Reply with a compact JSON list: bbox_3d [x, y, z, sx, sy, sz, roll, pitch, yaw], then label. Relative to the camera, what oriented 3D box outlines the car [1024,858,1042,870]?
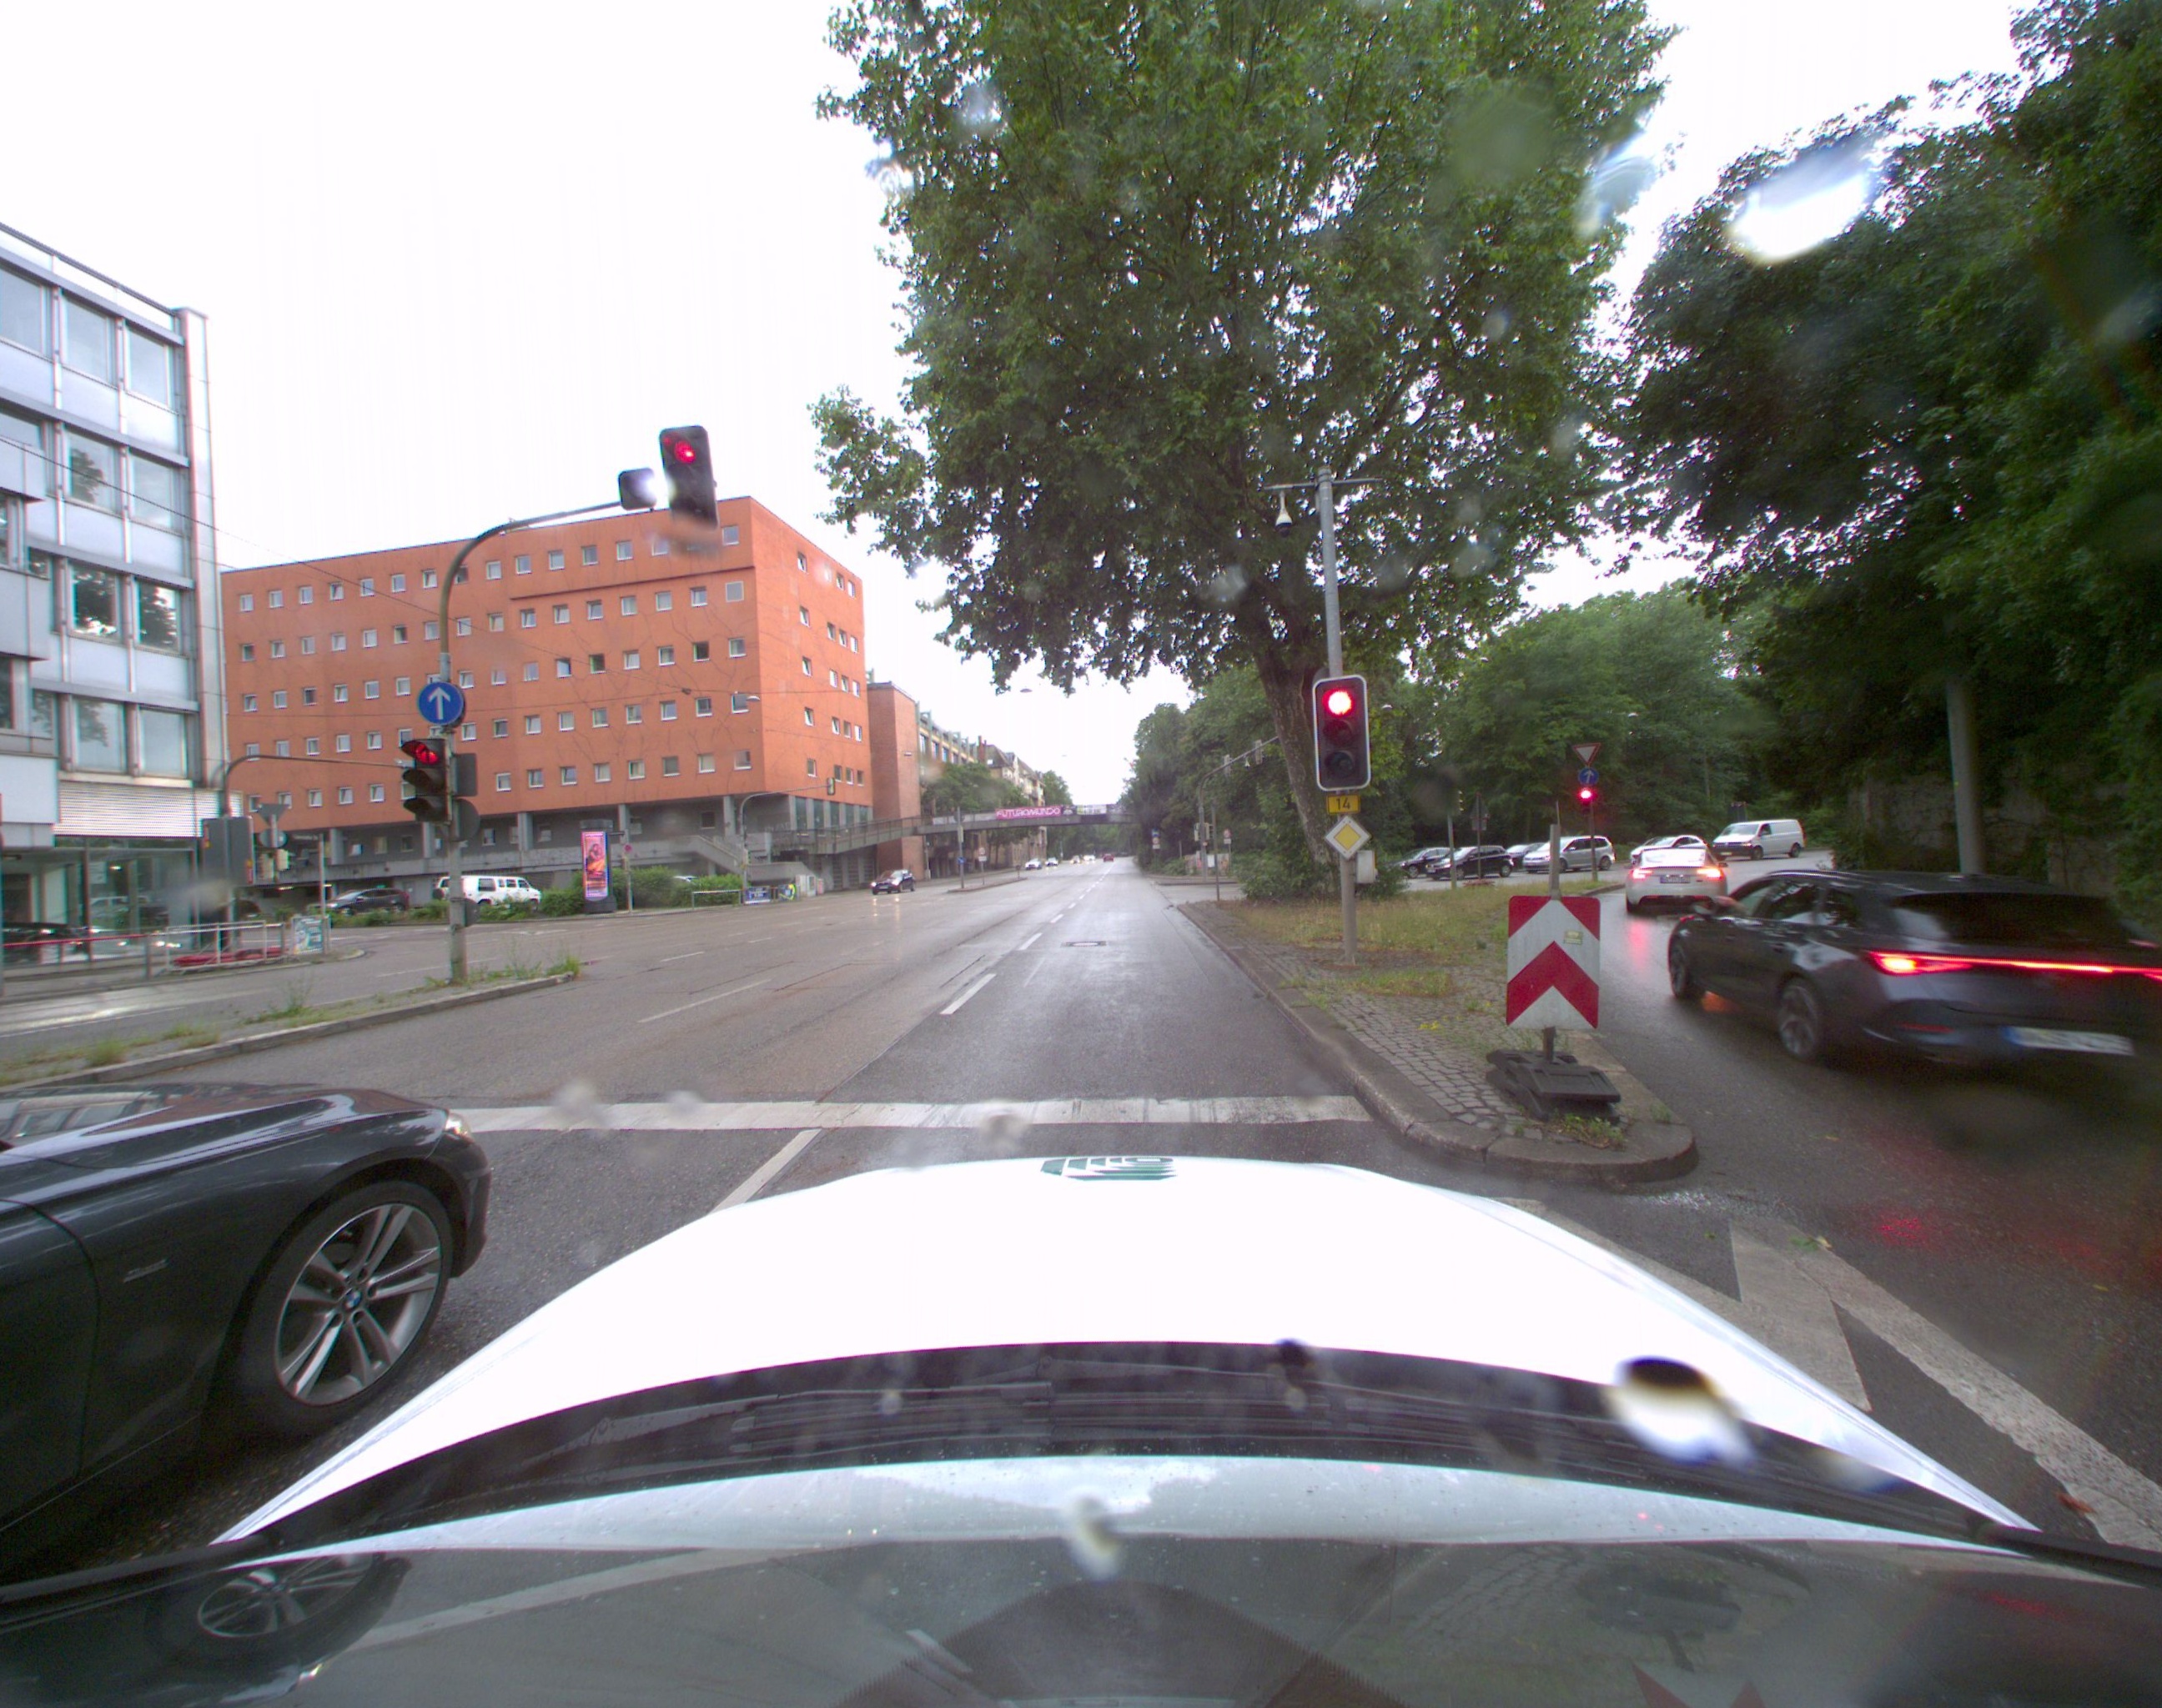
[{"bbox_3d":[-6.750,1.366,115.610,1.881,1.610,4.461,-3,-1,4],"label":"car"}]

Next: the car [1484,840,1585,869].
[{"bbox_3d":[22.945,0.039,41.211,4.438,1.402,1.821,0,-1,-14],"label":"car"}]

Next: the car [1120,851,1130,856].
[{"bbox_3d":[12.534,-0.137,231.761,1.842,1.453,3.764,0,-1,-10],"label":"car"}]

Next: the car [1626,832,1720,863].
[{"bbox_3d":[28.843,-0.296,39.708,3.857,1.461,1.650,0,-1,-14],"label":"car"}]

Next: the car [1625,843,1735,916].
[{"bbox_3d":[14.008,0.495,19.145,1.834,1.448,4.648,2,2,36],"label":"car"}]

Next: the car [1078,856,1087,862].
[{"bbox_3d":[0.482,1.400,235.834,1.604,1.499,3.691,-4,-1,-16],"label":"car"}]

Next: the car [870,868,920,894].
[{"bbox_3d":[-11.321,1.636,49.929,1.678,1.419,4.220,-4,-1,5],"label":"car"}]

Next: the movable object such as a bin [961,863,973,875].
[{"bbox_3d":[-15.108,1.941,107.668,1.277,1.518,1.274,-3,0,3],"label":"movable object such as a bin"}]

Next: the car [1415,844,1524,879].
[{"bbox_3d":[17.160,0.332,36.020,4.192,1.460,1.784,0,-1,-14],"label":"car"}]

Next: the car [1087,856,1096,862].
[{"bbox_3d":[2.374,1.125,189.651,1.823,1.393,4.409,-4,-1,3],"label":"car"}]

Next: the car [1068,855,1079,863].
[{"bbox_3d":[-1.360,0.885,154.776,1.676,1.436,3.866,-3,-1,3],"label":"car"}]

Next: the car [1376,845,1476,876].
[{"bbox_3d":[16.851,0.317,39.798,4.205,1.440,1.941,0,-1,-14],"label":"car"}]

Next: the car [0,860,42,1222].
[{"bbox_3d":[-6.004,0.847,1.698,1.801,1.656,4.449,0,-1,4],"label":"car"}]

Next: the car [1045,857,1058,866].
[{"bbox_3d":[-5.035,1.272,140.658,1.701,1.464,4.047,-3,-1,5],"label":"car"}]

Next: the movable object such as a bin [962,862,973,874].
[{"bbox_3d":[-15.199,1.930,109.087,1.293,1.518,1.215,-3,0,3],"label":"movable object such as a bin"}]

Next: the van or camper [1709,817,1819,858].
[{"bbox_3d":[34.899,-0.851,41.631,4.860,1.947,1.896,-1,-1,-17],"label":"van or camper"}]

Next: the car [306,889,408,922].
[{"bbox_3d":[-40.247,2.823,45.405,1.699,1.612,4.097,-1,-1,9],"label":"car"}]

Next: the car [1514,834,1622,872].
[{"bbox_3d":[22.608,-0.043,37.817,4.203,1.680,1.898,0,-1,-14],"label":"car"}]

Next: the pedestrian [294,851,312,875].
[{"bbox_3d":[-62.109,0.712,65.045,0.757,1.839,0.727,-1,-1,11],"label":"pedestrian"}]

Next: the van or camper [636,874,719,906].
[{"bbox_3d":[-24.136,2.152,48.808,3.964,1.627,1.918,-3,0,8],"label":"van or camper"}]

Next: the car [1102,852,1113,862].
[{"bbox_3d":[4.924,0.584,151.792,1.998,1.643,4.376,-3,0,0],"label":"car"}]

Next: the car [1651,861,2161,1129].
[{"bbox_3d":[6.422,0.804,6.724,1.734,1.403,4.436,1,1,20],"label":"car"}]

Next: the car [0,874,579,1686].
[{"bbox_3d":[-2.928,0.837,0.882,1.769,1.458,4.480,-3,-1,3],"label":"car"}]

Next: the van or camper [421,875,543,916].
[{"bbox_3d":[-32.837,2.227,44.912,2.113,1.977,5.466,0,-1,9],"label":"van or camper"}]
